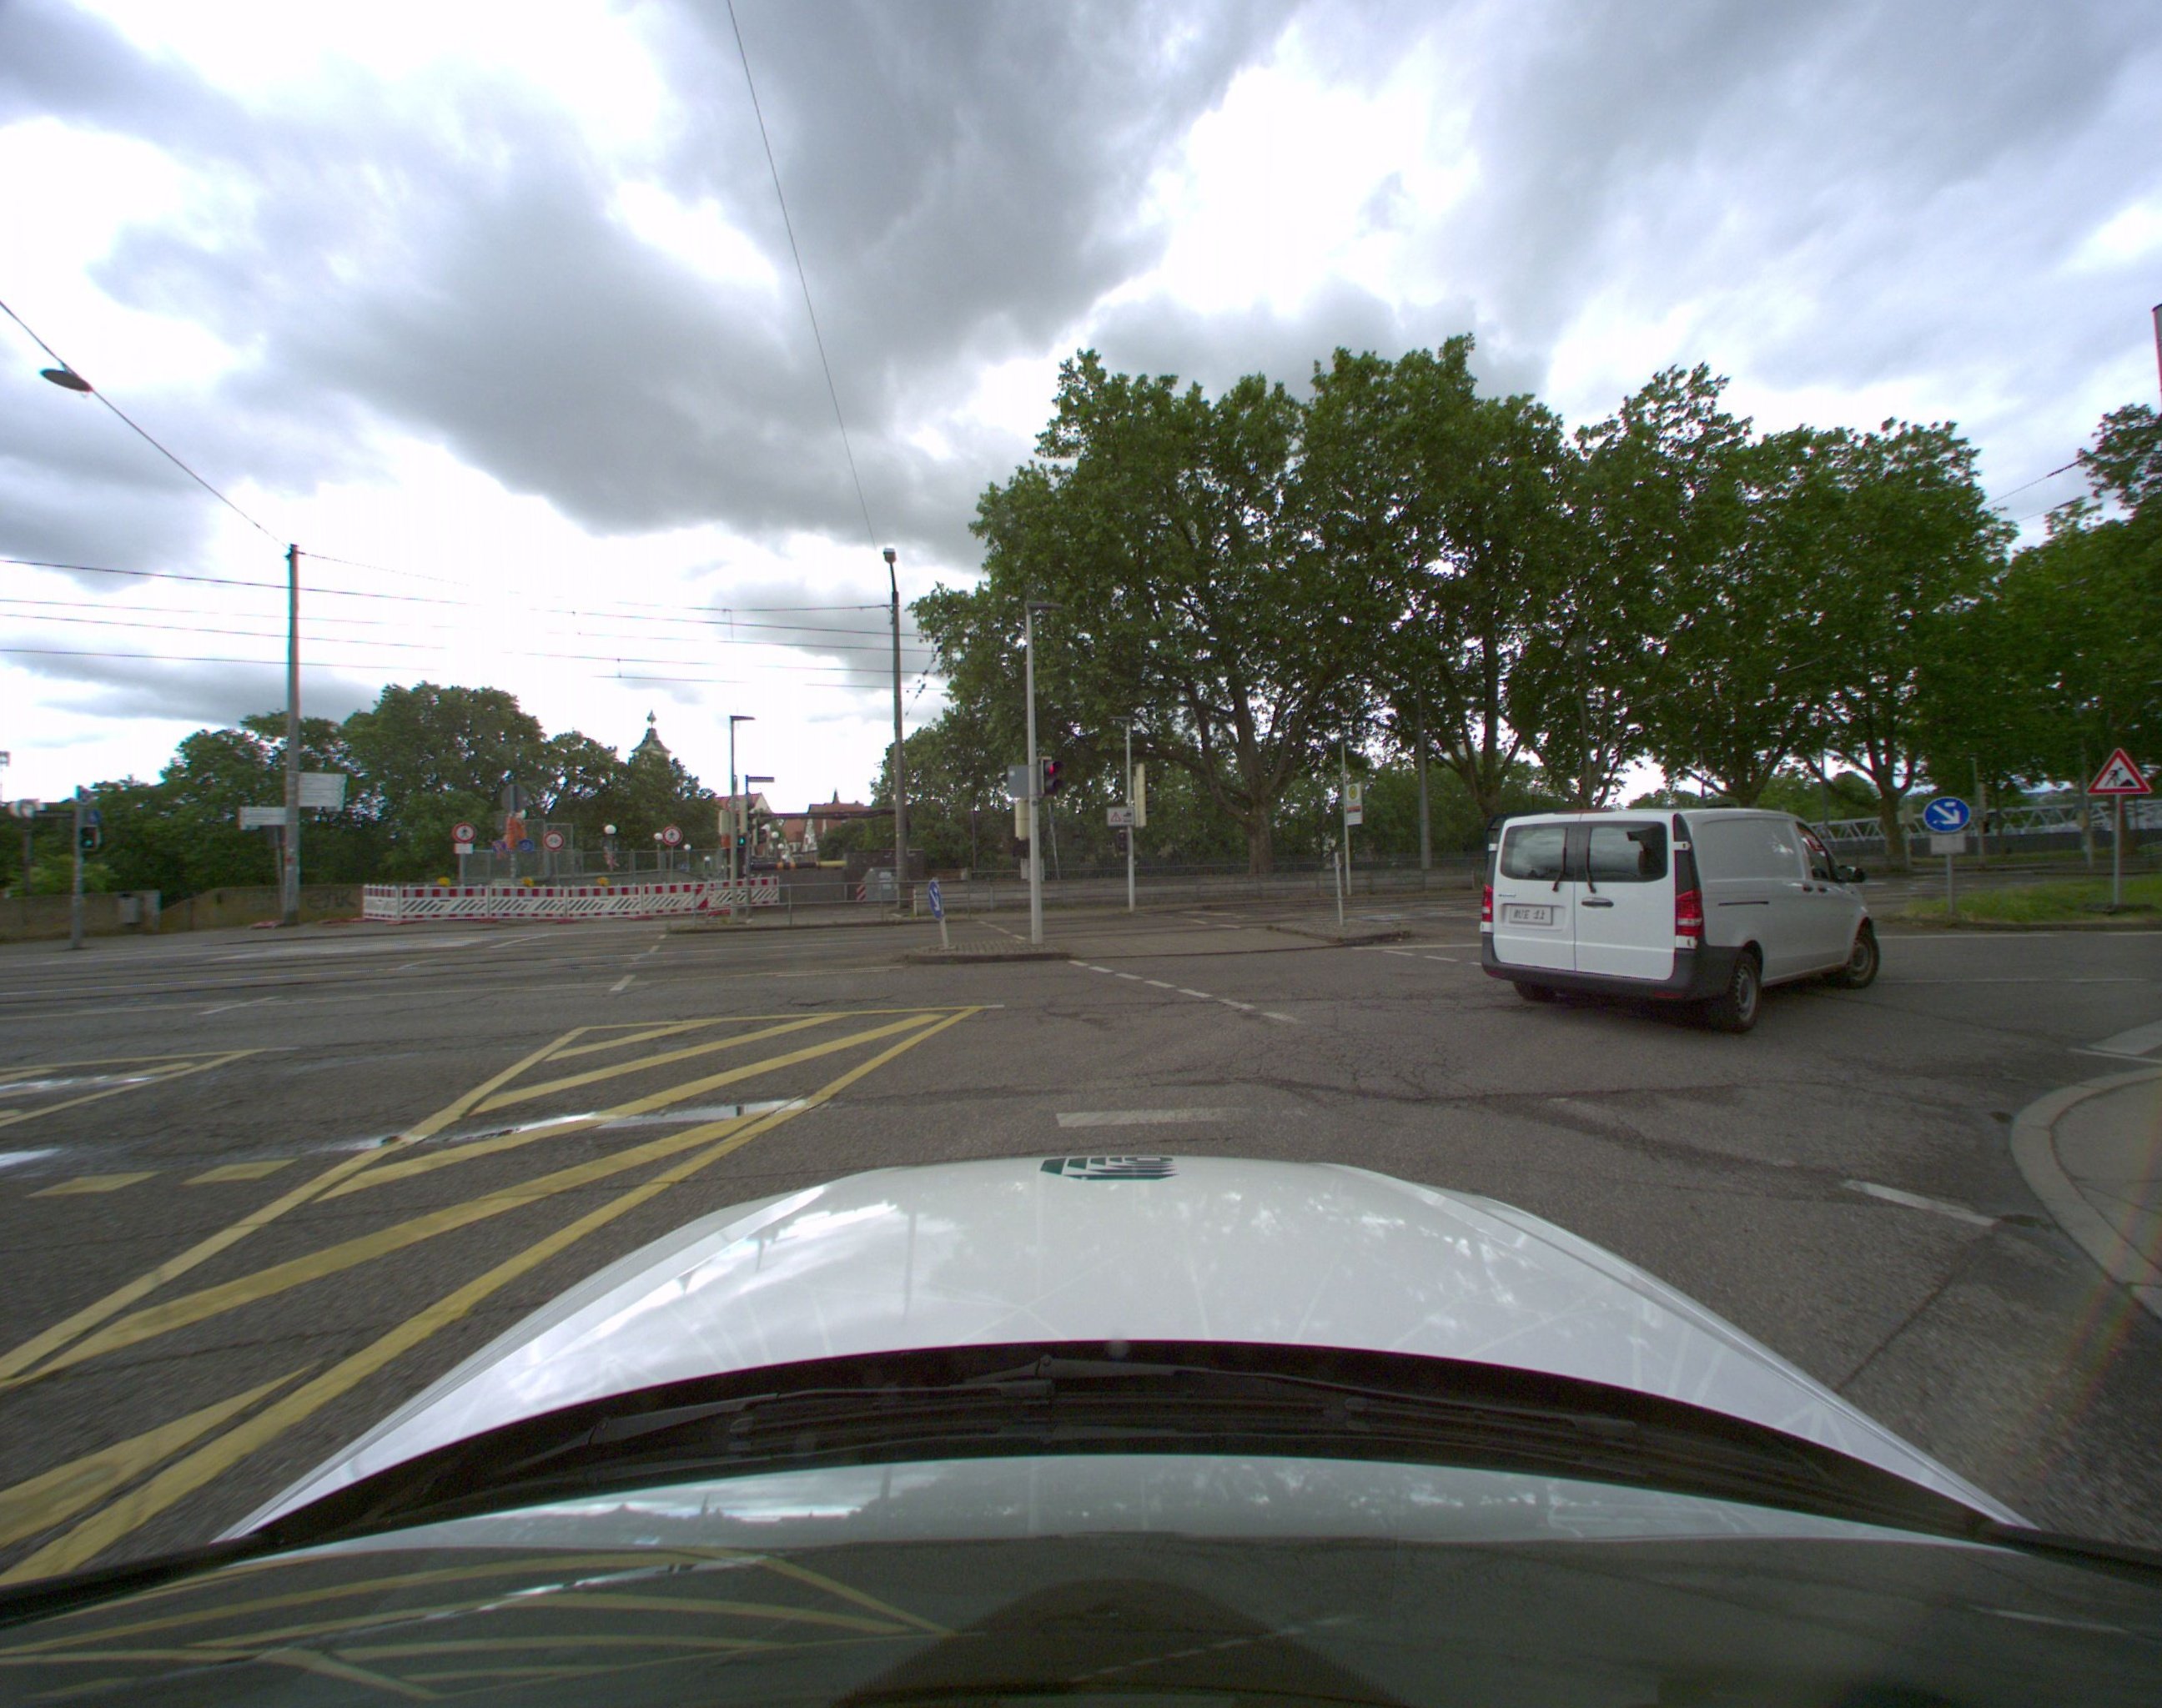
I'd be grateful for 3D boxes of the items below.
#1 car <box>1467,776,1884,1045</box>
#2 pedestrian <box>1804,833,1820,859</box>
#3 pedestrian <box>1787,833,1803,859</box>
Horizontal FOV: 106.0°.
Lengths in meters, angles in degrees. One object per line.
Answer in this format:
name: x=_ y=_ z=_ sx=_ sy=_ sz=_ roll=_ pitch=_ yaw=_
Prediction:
car: x=6.138 y=0.435 z=8.227 sx=4.717 sy=2.014 sz=1.936 roll=0 pitch=-1 yaw=-34
pedestrian: x=42.273 y=-0.447 z=47.085 sx=0.511 sy=1.451 sz=0.469 roll=1 pitch=-3 yaw=-20
pedestrian: x=41.982 y=-0.468 z=47.913 sx=0.511 sy=1.451 sz=0.469 roll=1 pitch=-3 yaw=-20
